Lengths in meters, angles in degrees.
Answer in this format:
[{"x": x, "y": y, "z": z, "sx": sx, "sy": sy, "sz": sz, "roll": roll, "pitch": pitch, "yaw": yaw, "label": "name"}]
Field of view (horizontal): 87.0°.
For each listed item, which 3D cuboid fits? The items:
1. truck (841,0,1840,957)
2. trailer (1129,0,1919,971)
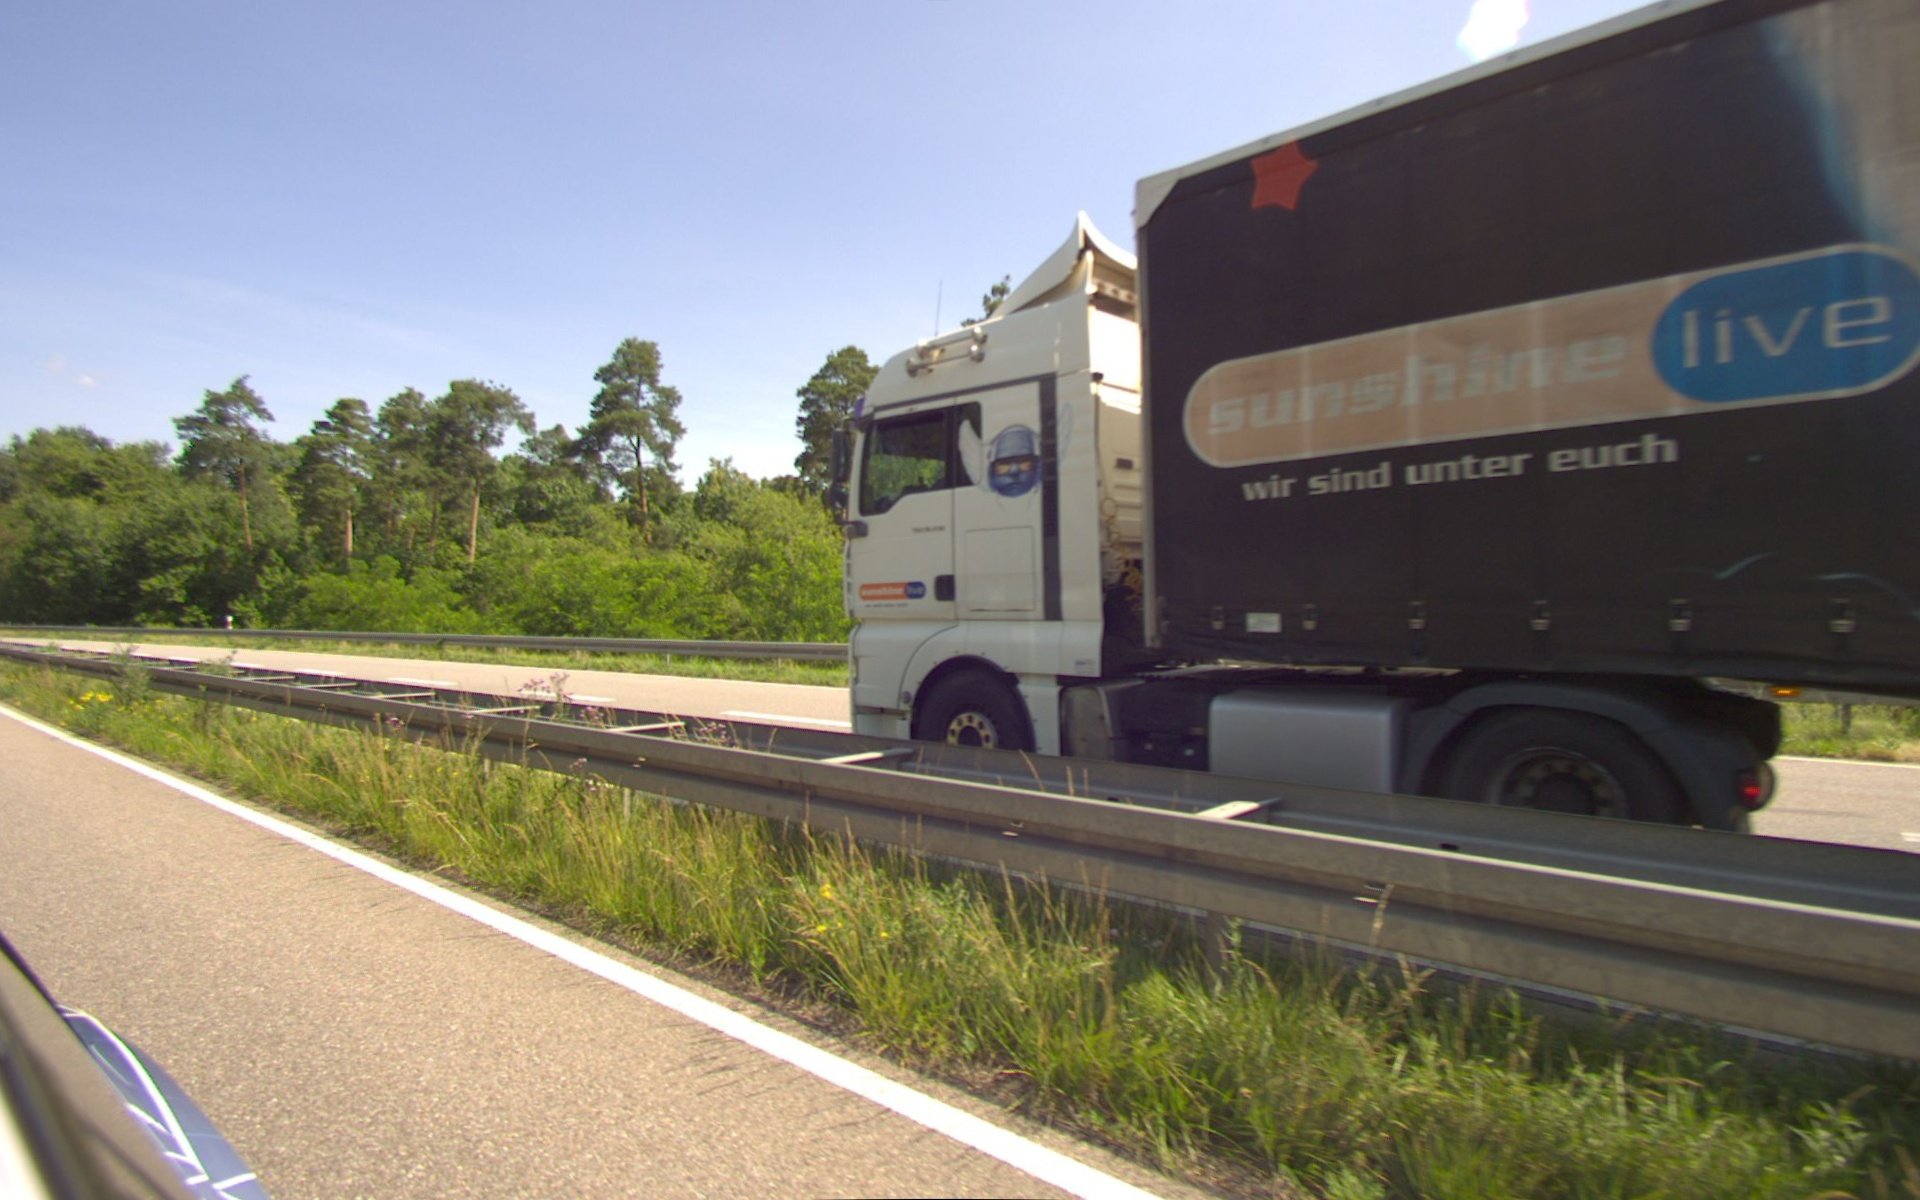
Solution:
[{"x": 2.097, "y": -0.690, "z": 6.834, "sx": 5.713, "sy": 4.219, "sz": 2.640, "roll": -1, "pitch": -1, "yaw": 42, "label": "truck"}, {"x": 7.117, "y": -0.803, "z": 2.295, "sx": 14.060, "sy": 4.219, "sz": 2.640, "roll": -1, "pitch": -1, "yaw": 42, "label": "trailer"}]
